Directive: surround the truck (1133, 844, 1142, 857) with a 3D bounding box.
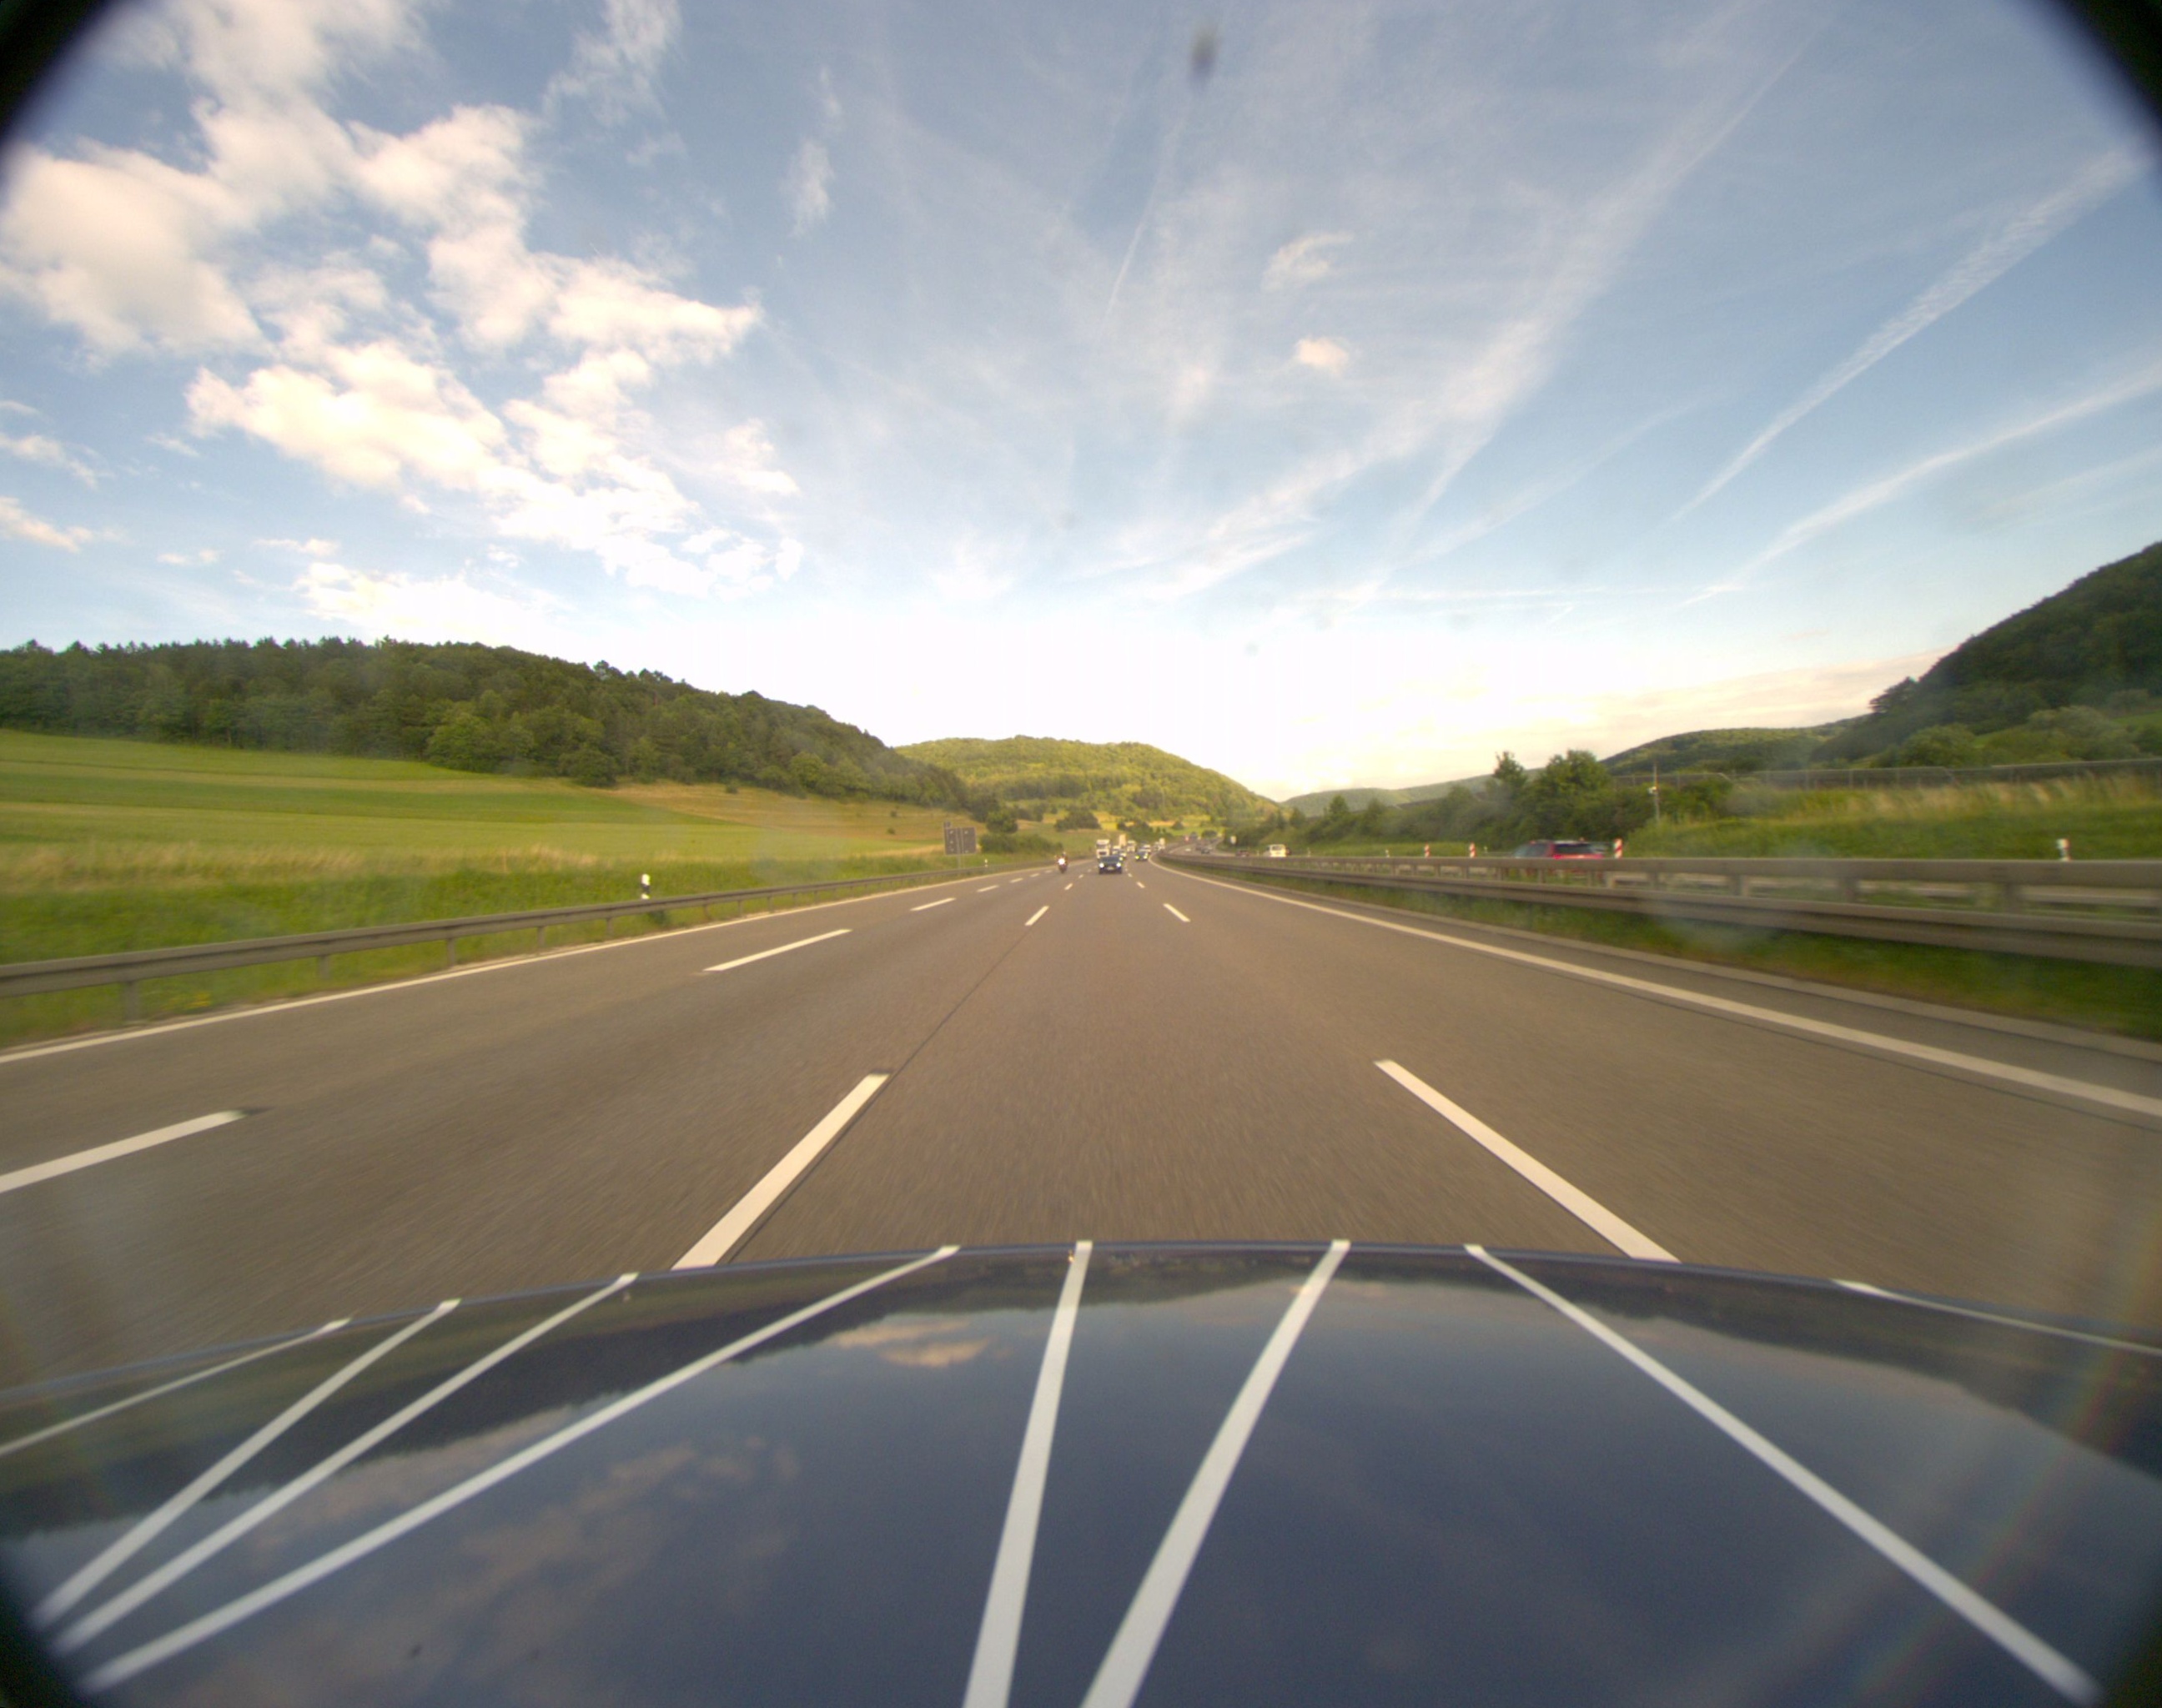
[{"bbox_3d":[19.574,-1.285,263.211,2.924,3.877,13.010,-2,2,5],"label":"truck"}]

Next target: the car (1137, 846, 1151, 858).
[{"bbox_3d":[10.217,-0.379,123.008,1.997,1.871,4.002,0,1,8],"label":"car"}]

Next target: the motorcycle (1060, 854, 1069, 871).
[{"bbox_3d":[-1.426,0.729,65.388,0.628,1.331,1.739,-1,2,3],"label":"motorcycle"}]

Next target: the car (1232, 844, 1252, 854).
[{"bbox_3d":[24.841,-0.722,117.337,1.999,1.488,4.692,-2,0,-1],"label":"car"}]

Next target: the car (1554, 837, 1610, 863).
[{"bbox_3d":[31.945,-0.280,48.387,4.628,1.542,1.994,-2,1,-44],"label":"car"}]

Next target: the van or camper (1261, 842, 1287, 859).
[{"bbox_3d":[22.426,-0.438,88.294,1.920,1.862,4.755,-1,1,2],"label":"van or camper"}]

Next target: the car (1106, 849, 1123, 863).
[{"bbox_3d":[4.676,0.315,105.264,1.997,1.871,4.002,0,1,8],"label":"car"}]

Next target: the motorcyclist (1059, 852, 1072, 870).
[{"bbox_3d":[-1.332,0.602,66.051,0.878,1.506,0.798,-2,2,10],"label":"motorcyclist"}]

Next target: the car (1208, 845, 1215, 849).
[{"bbox_3d":[44.338,-2.388,258.305,1.764,1.350,4.381,-1,1,-1],"label":"car"}]

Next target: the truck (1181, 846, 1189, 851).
[{"bbox_3d":[31.851,-1.695,233.737,1.998,1.357,4.646,-2,1,3],"label":"truck"}]

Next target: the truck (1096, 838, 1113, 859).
[{"bbox_3d":[4.788,-1.310,158.785,2.972,3.970,17.727,-2,1,1],"label":"truck"}]

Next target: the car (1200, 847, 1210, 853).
[{"bbox_3d":[31.465,-0.999,193.204,1.799,1.488,4.499,-2,0,-1],"label":"car"}]

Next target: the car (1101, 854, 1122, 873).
[{"bbox_3d":[2.363,0.736,59.716,1.580,1.311,3.999,-2,2,2],"label":"car"}]

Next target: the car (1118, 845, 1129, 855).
[{"bbox_3d":[8.032,-0.716,142.682,1.998,1.871,4.001,0,1,5],"label":"car"}]

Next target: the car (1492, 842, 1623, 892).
[{"bbox_3d":[15.419,0.383,24.881,1.845,1.521,4.216,0,0,3],"label":"car"}]
